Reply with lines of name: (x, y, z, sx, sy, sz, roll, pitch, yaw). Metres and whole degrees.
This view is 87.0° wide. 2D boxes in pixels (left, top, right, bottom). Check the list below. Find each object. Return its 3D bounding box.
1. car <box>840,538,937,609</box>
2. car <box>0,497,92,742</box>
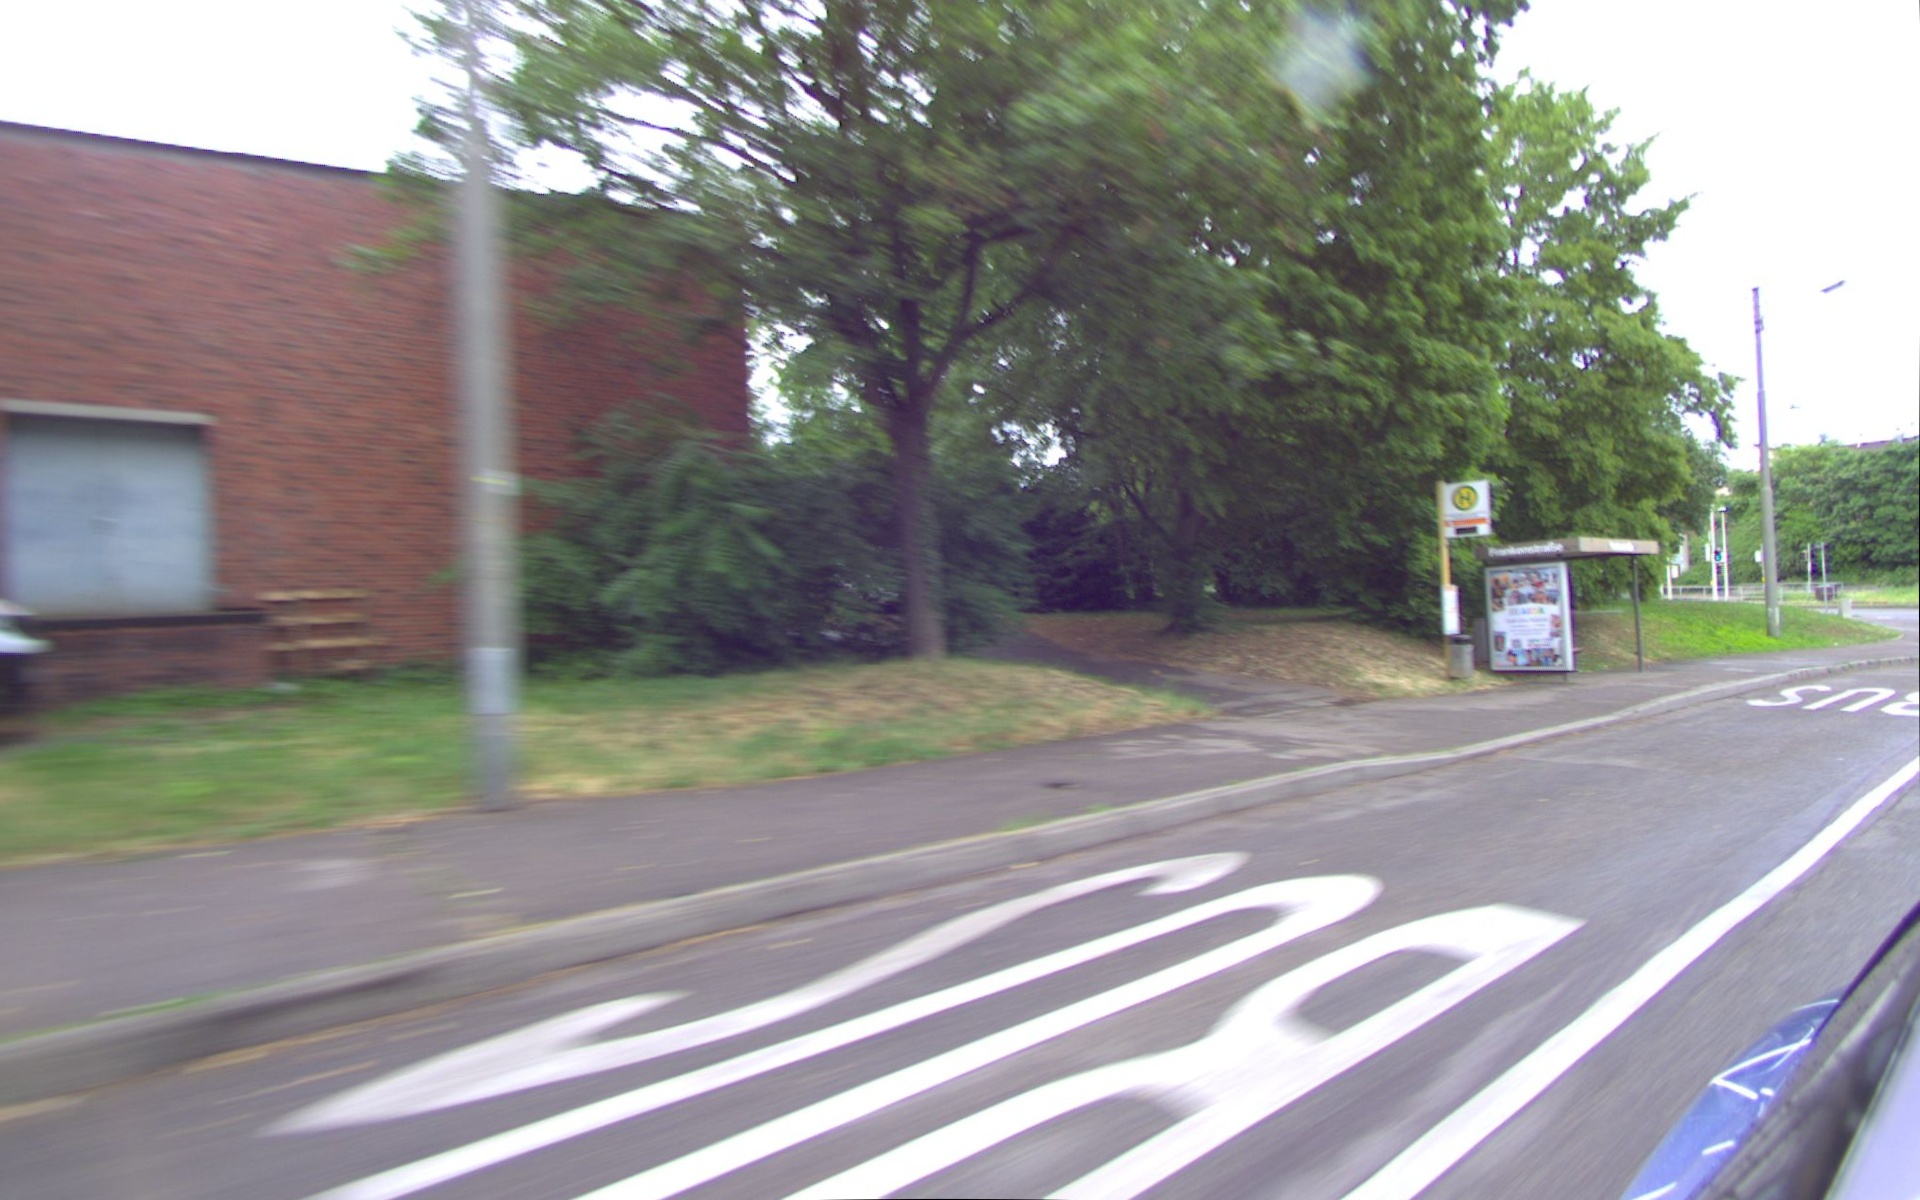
car: (-2.184, -0.853, 29.779, 1.764, 1.800, 4.341, -1, 5, -19)
car: (-9.435, 0.209, 7.024, 5.053, 1.828, 1.998, -1, -3, -38)
